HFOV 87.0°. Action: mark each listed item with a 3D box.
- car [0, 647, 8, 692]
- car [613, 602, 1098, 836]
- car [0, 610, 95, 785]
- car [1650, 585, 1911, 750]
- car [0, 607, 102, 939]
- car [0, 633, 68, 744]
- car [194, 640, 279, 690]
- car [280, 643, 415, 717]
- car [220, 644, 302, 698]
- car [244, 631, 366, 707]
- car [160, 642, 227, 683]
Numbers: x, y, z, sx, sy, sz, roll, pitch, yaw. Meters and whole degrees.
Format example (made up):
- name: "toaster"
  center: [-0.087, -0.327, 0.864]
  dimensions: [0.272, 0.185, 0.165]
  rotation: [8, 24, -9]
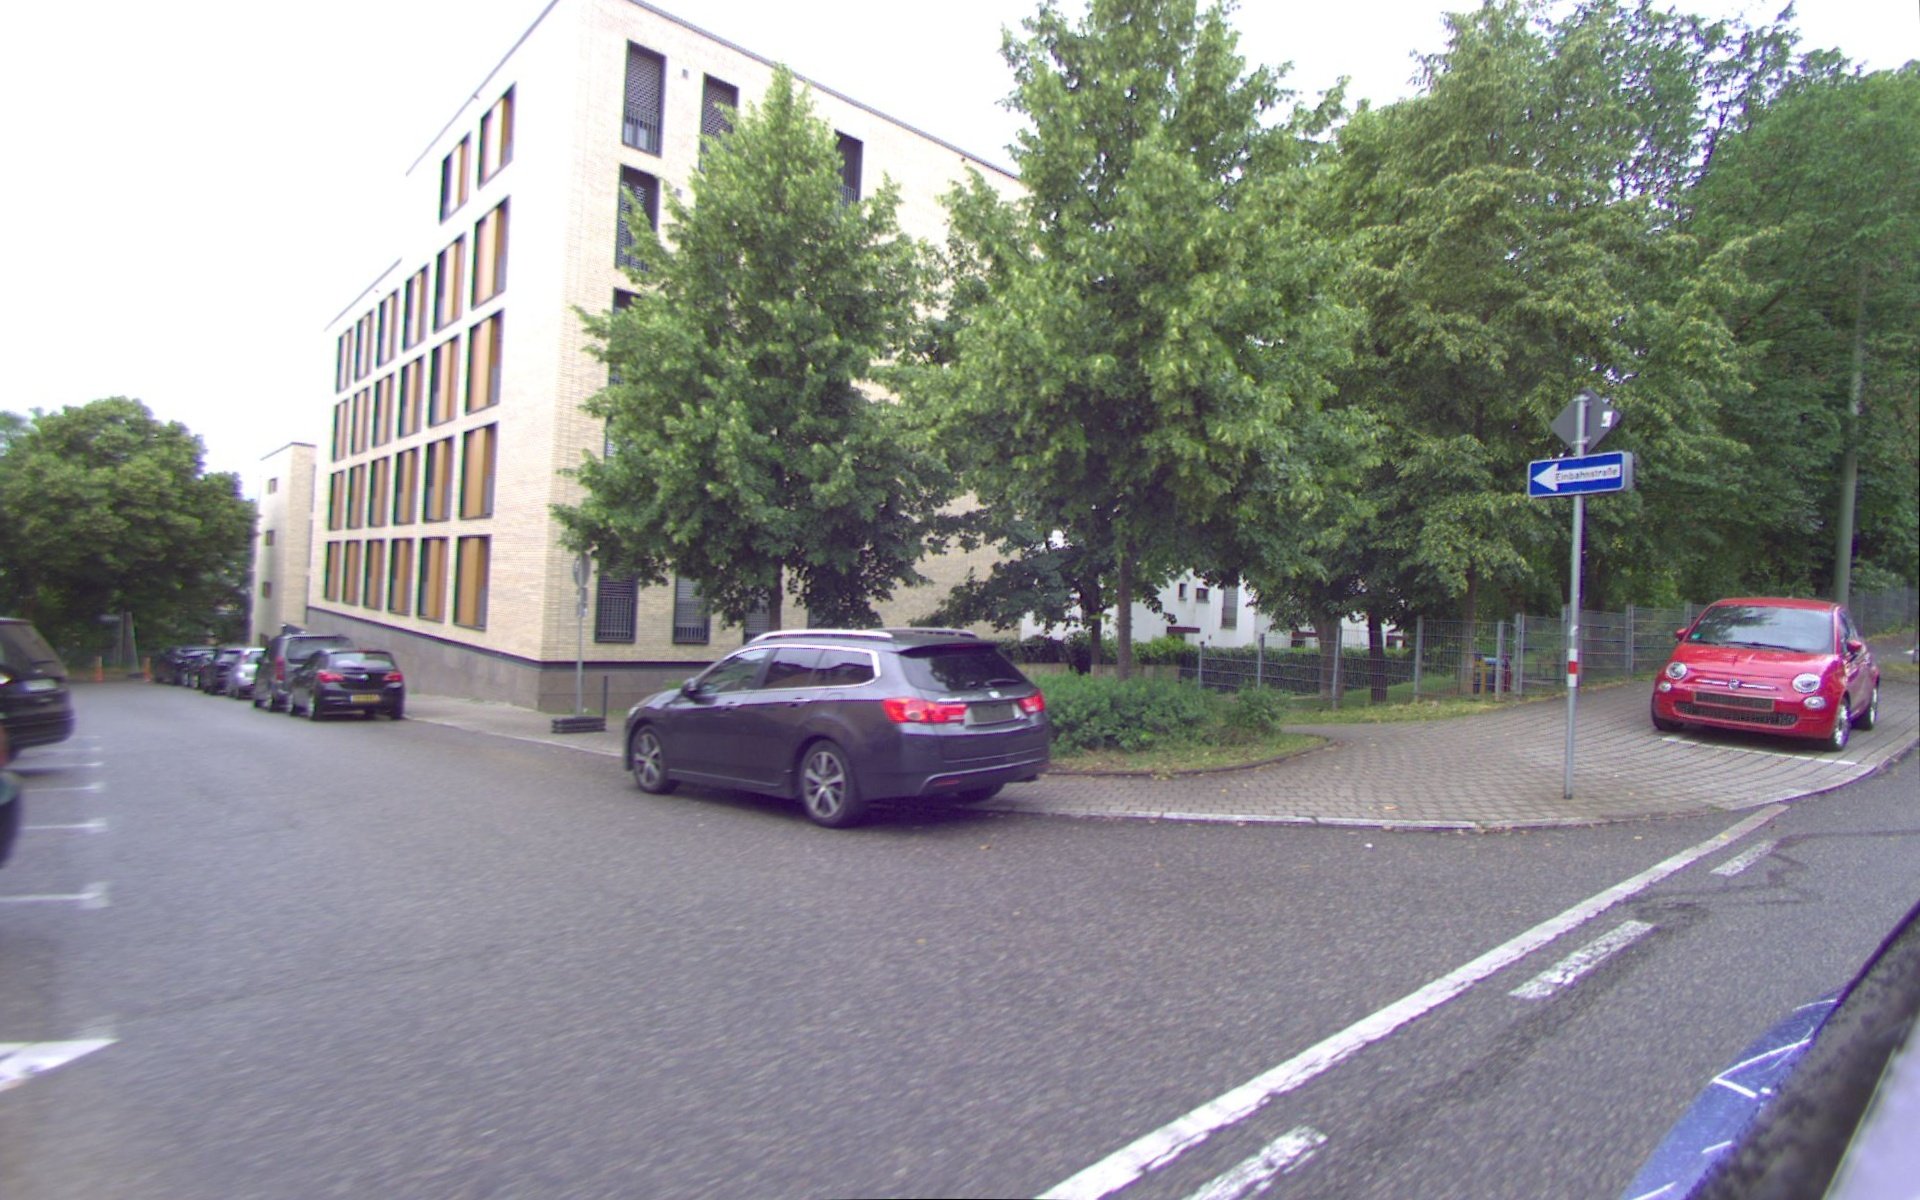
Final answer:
- name: "car"
  center: [-35.513, 2.495, 36.091]
  dimensions: [1.657, 1.658, 3.809]
  rotation: [3, -4, -35]
- name: "car"
  center: [-1.101, 0.860, 8.827]
  dimensions: [1.970, 1.518, 4.268]
  rotation: [3, -3, -45]
- name: "car"
  center: [-11.954, 0.964, 10.302]
  dimensions: [4.444, 1.746, 1.712]
  rotation: [1, -1, -17]
- name: "car"
  center: [9.468, 0.622, 11.574]
  dimensions: [3.889, 1.520, 1.613]
  rotation: [-1, 3, -41]
- name: "car"
  center: [-6.285, 0.862, 3.995]
  dimensions: [4.026, 1.488, 1.857]
  rotation: [-3, -1, -9]
- name: "car"
  center: [-15.502, 1.272, 14.651]
  dimensions: [3.539, 1.487, 1.711]
  rotation: [1, 2, -8]
- name: "car"
  center: [-25.006, 2.223, 34.937]
  dimensions: [1.849, 1.617, 4.068]
  rotation: [4, -4, -43]
- name: "car"
  center: [-13.065, 1.643, 21.509]
  dimensions: [1.747, 1.444, 3.520]
  rotation: [4, -4, -43]
- name: "car"
  center: [-21.878, 2.168, 31.623]
  dimensions: [1.707, 1.557, 4.072]
  rotation: [3, -4, -39]
- name: "car"
  center: [-16.441, 1.692, 25.320]
  dimensions: [1.933, 1.731, 4.328]
  rotation: [3, -4, -40]
- name: "car"
  center: [-32.881, 2.633, 43.391]
  dimensions: [1.849, 1.669, 4.068]
  rotation: [4, -4, -43]
